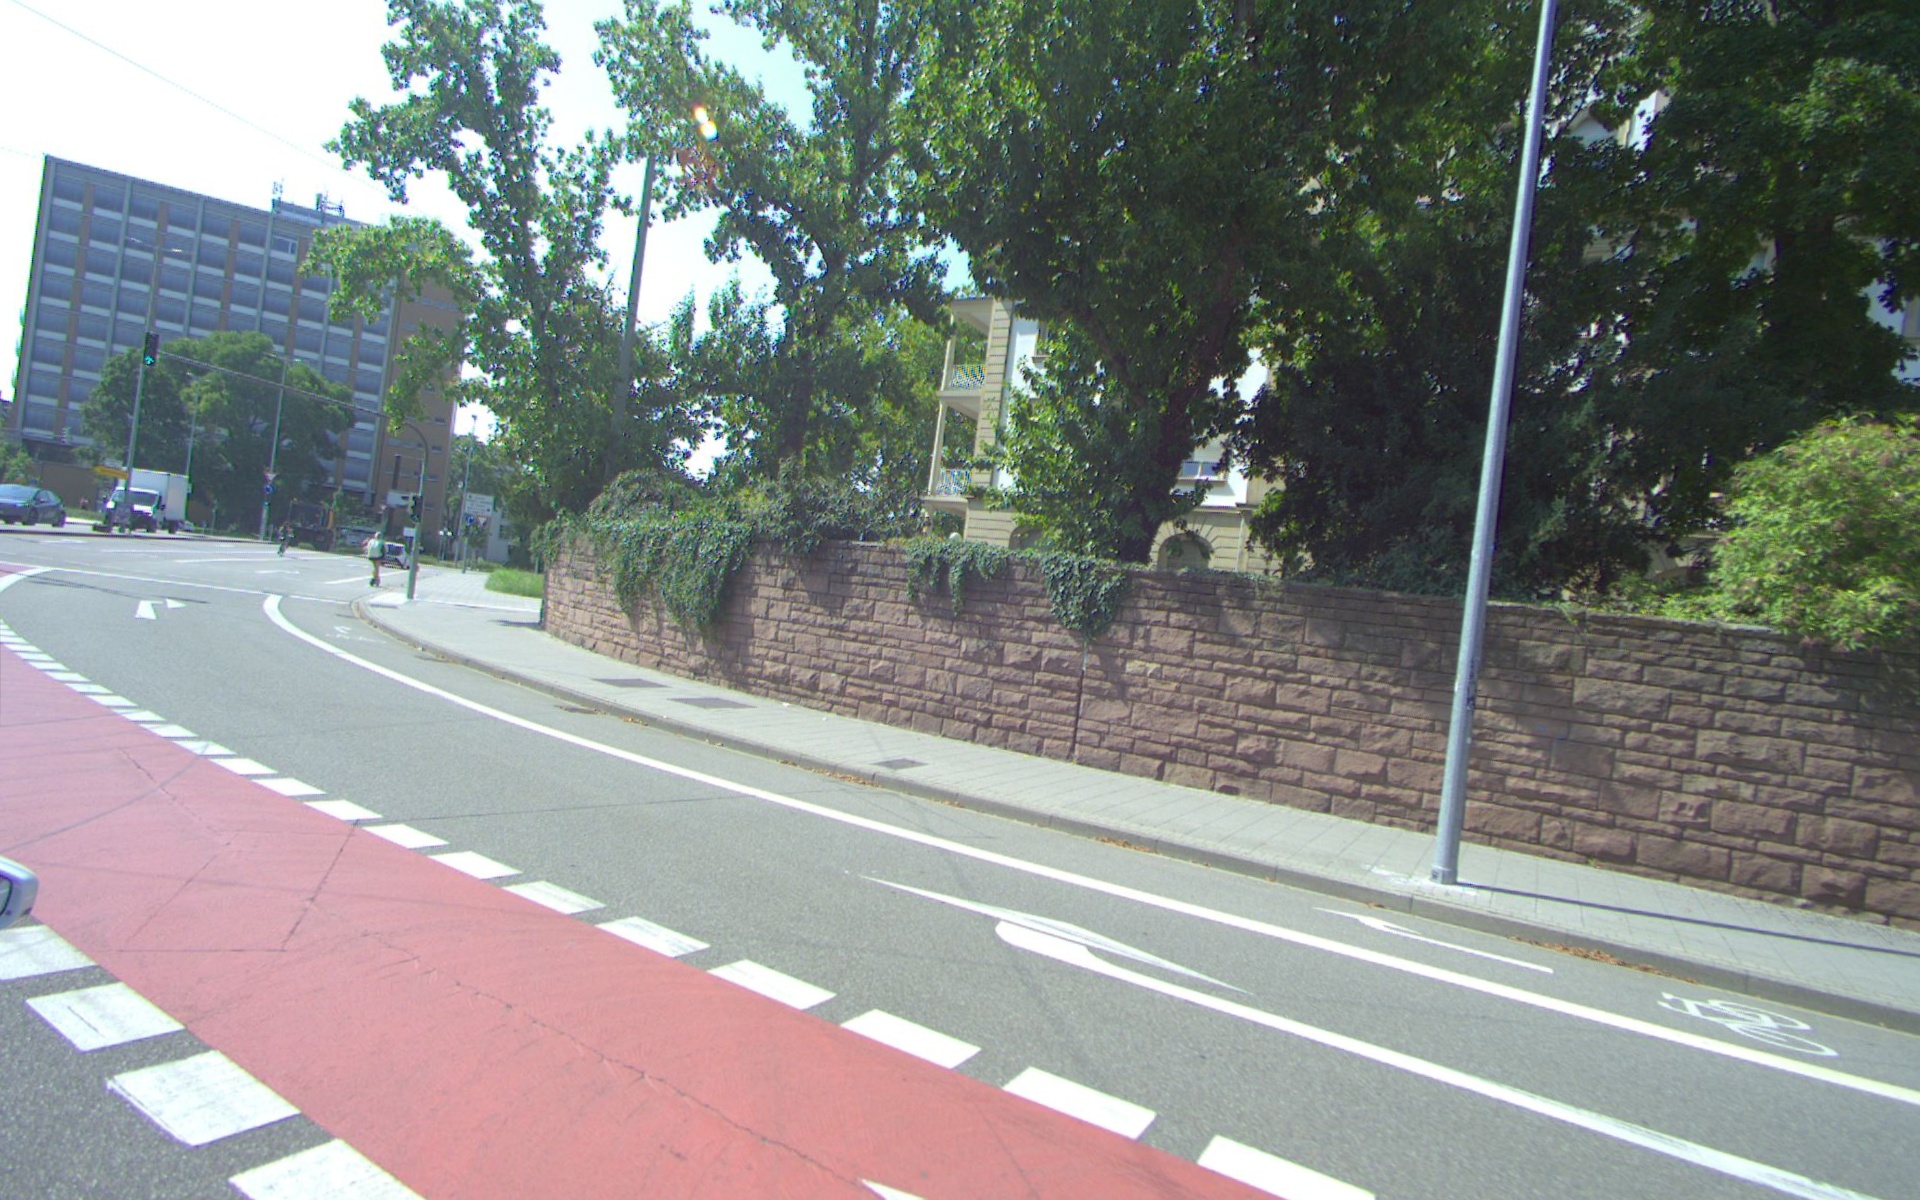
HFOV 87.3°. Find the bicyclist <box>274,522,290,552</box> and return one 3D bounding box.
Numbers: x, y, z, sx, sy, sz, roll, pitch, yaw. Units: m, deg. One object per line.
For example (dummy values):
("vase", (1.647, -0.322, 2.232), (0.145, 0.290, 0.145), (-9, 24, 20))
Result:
("bicyclist", (-33.556, -3.115, 49.798), (0.445, 1.438, 0.492), (7, 0, -26))

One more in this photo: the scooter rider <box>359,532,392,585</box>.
("scooter rider", (-21.005, -1.494, 36.157), (0.754, 1.797, 0.552), (7, 0, -21))

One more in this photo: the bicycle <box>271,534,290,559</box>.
("bicycle", (-33.575, -2.639, 49.718), (0.440, 1.130, 1.437), (7, 0, -25))

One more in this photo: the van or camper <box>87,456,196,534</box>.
("van or camper", (-43.216, -5.407, 53.342), (2.377, 3.346, 7.149), (7, -1, -24))

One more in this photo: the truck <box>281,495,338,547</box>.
("truck", (-45.467, -5.421, 70.449), (2.677, 3.024, 5.922), (8, -2, -30))

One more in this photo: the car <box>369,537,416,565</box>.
("car", (-34.499, -2.961, 61.240), (1.823, 1.408, 3.980), (8, -1, -21))

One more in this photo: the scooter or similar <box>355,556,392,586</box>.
("scooter or similar", (-21.031, -1.030, 36.084), (0.764, 0.937, 1.613), (8, -1, -20))

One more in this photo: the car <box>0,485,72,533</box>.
("car", (-36.175, -3.524, 38.704), (1.680, 1.548, 4.159), (7, -1, -24))
